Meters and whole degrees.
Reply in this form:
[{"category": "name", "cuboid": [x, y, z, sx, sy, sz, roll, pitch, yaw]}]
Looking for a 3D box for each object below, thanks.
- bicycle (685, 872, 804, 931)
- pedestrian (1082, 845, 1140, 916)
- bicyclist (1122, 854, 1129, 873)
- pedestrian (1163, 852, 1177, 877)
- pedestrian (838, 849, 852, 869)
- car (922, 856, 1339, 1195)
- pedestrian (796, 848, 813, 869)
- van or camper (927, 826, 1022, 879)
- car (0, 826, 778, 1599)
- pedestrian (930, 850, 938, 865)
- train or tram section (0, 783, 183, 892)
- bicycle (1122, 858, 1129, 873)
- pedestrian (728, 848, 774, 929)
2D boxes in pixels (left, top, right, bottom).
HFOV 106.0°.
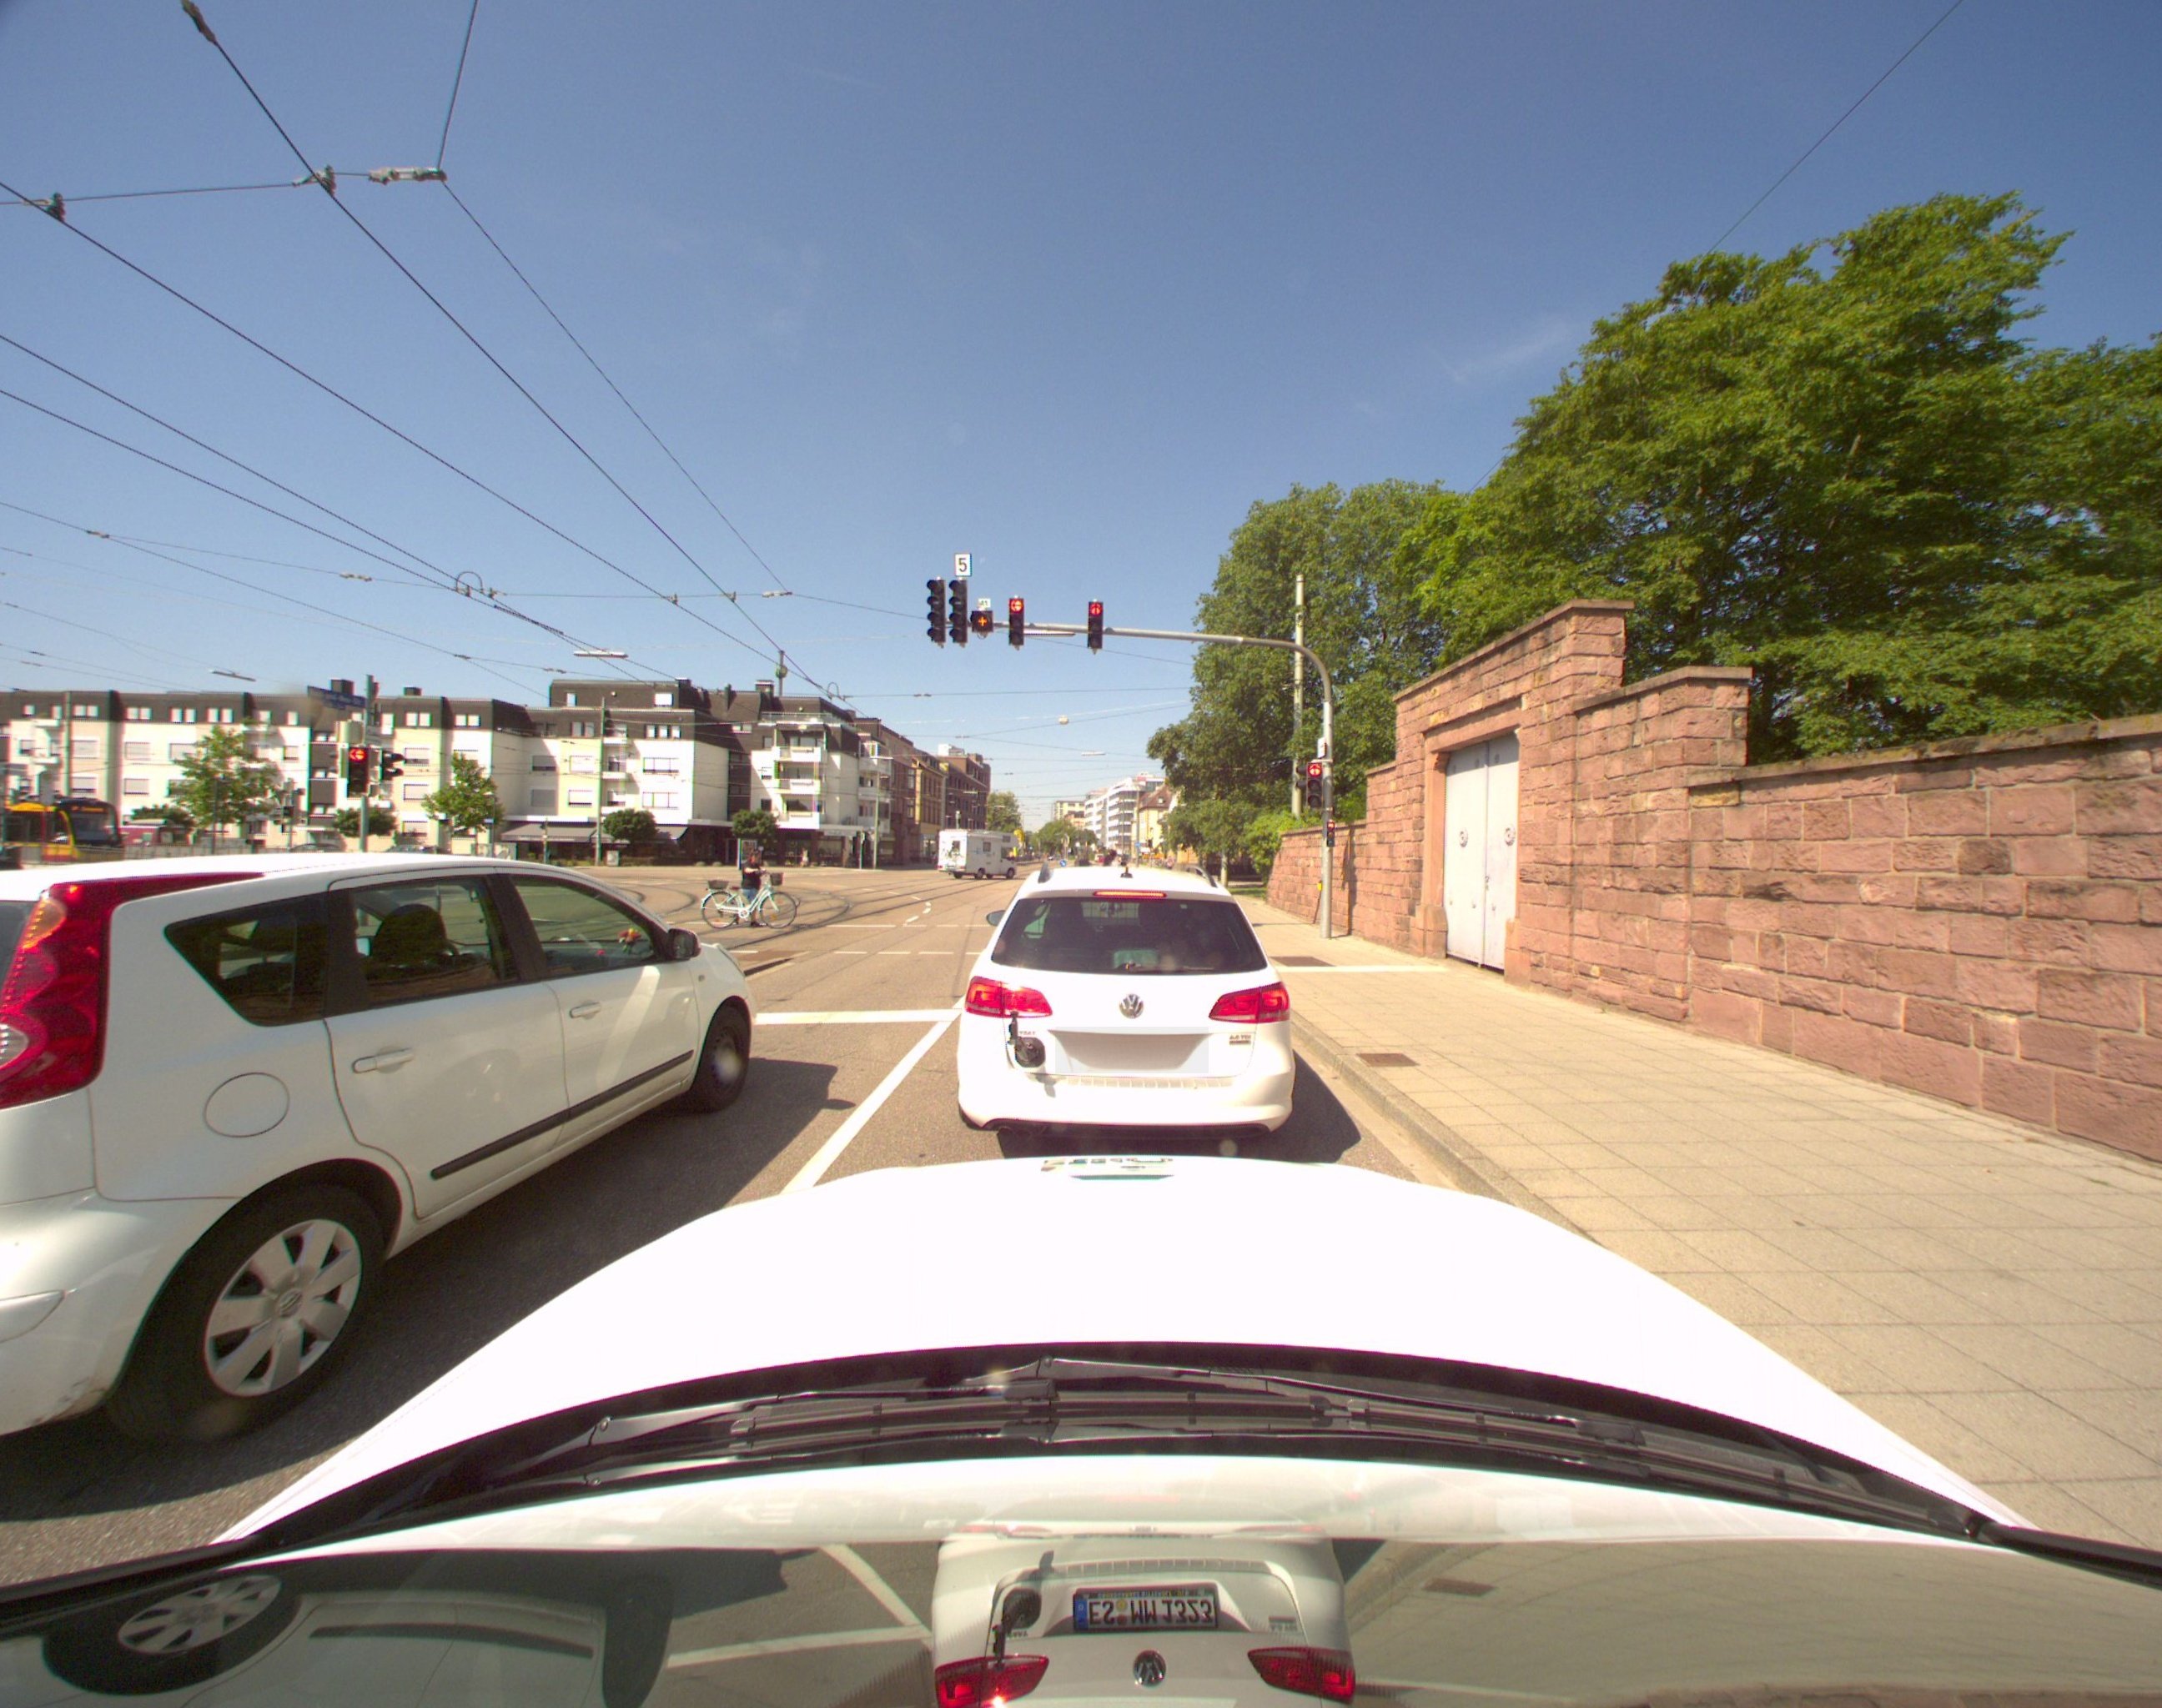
[{"category": "bicycle", "cuboid": [-6.510, 0.906, 15.840, 2.021, 1.090, 0.707, 1, 0, -13]}, {"category": "pedestrian", "cuboid": [0.720, 0.632, 19.561, 0.980, 1.651, 0.944, 0, -2, -44]}, {"category": "bicyclist", "cuboid": [3.694, 0.800, 68.042, 0.559, 1.613, 0.638, -1, -1, 2]}, {"category": "pedestrian", "cuboid": [6.474, 0.770, 59.205, 0.856, 1.743, 0.978, -1, -1, 10]}, {"category": "pedestrian", "cuboid": [-20.652, 0.413, 71.327, 0.978, 1.743, 0.856, 0, -2, -30]}, {"category": "car", "cuboid": [0.271, 0.747, 5.539, 1.801, 1.448, 4.001, 0, 0, 1]}, {"category": "pedestrian", "cuboid": [-22.968, 0.356, 67.581, 0.853, 1.743, 0.981, -2, -2, 36]}, {"category": "van or camper", "cuboid": [-6.484, -0.051, 50.181, 2.542, 3.093, 5.739, -2, -1, 36]}, {"category": "car", "cuboid": [-2.910, 0.711, 3.555, 1.636, 1.566, 3.805, -1, 1, 1]}, {"category": "pedestrian", "cuboid": [-17.830, 0.422, 98.973, 0.860, 1.743, 0.973, -1, -1, -4]}, {"category": "train or tram section", "cuboid": [-56.546, -0.654, 41.528, 16.149, 5.150, 4.735, -1, -1, 0]}, {"category": "bicycle", "cuboid": [3.702, 0.966, 68.049, 0.556, 1.297, 2.250, -1, -1, 2]}, {"category": "pedestrian", "cuboid": [-6.623, 0.677, 16.389, 0.746, 1.571, 0.672, -1, 0, -13]}]
